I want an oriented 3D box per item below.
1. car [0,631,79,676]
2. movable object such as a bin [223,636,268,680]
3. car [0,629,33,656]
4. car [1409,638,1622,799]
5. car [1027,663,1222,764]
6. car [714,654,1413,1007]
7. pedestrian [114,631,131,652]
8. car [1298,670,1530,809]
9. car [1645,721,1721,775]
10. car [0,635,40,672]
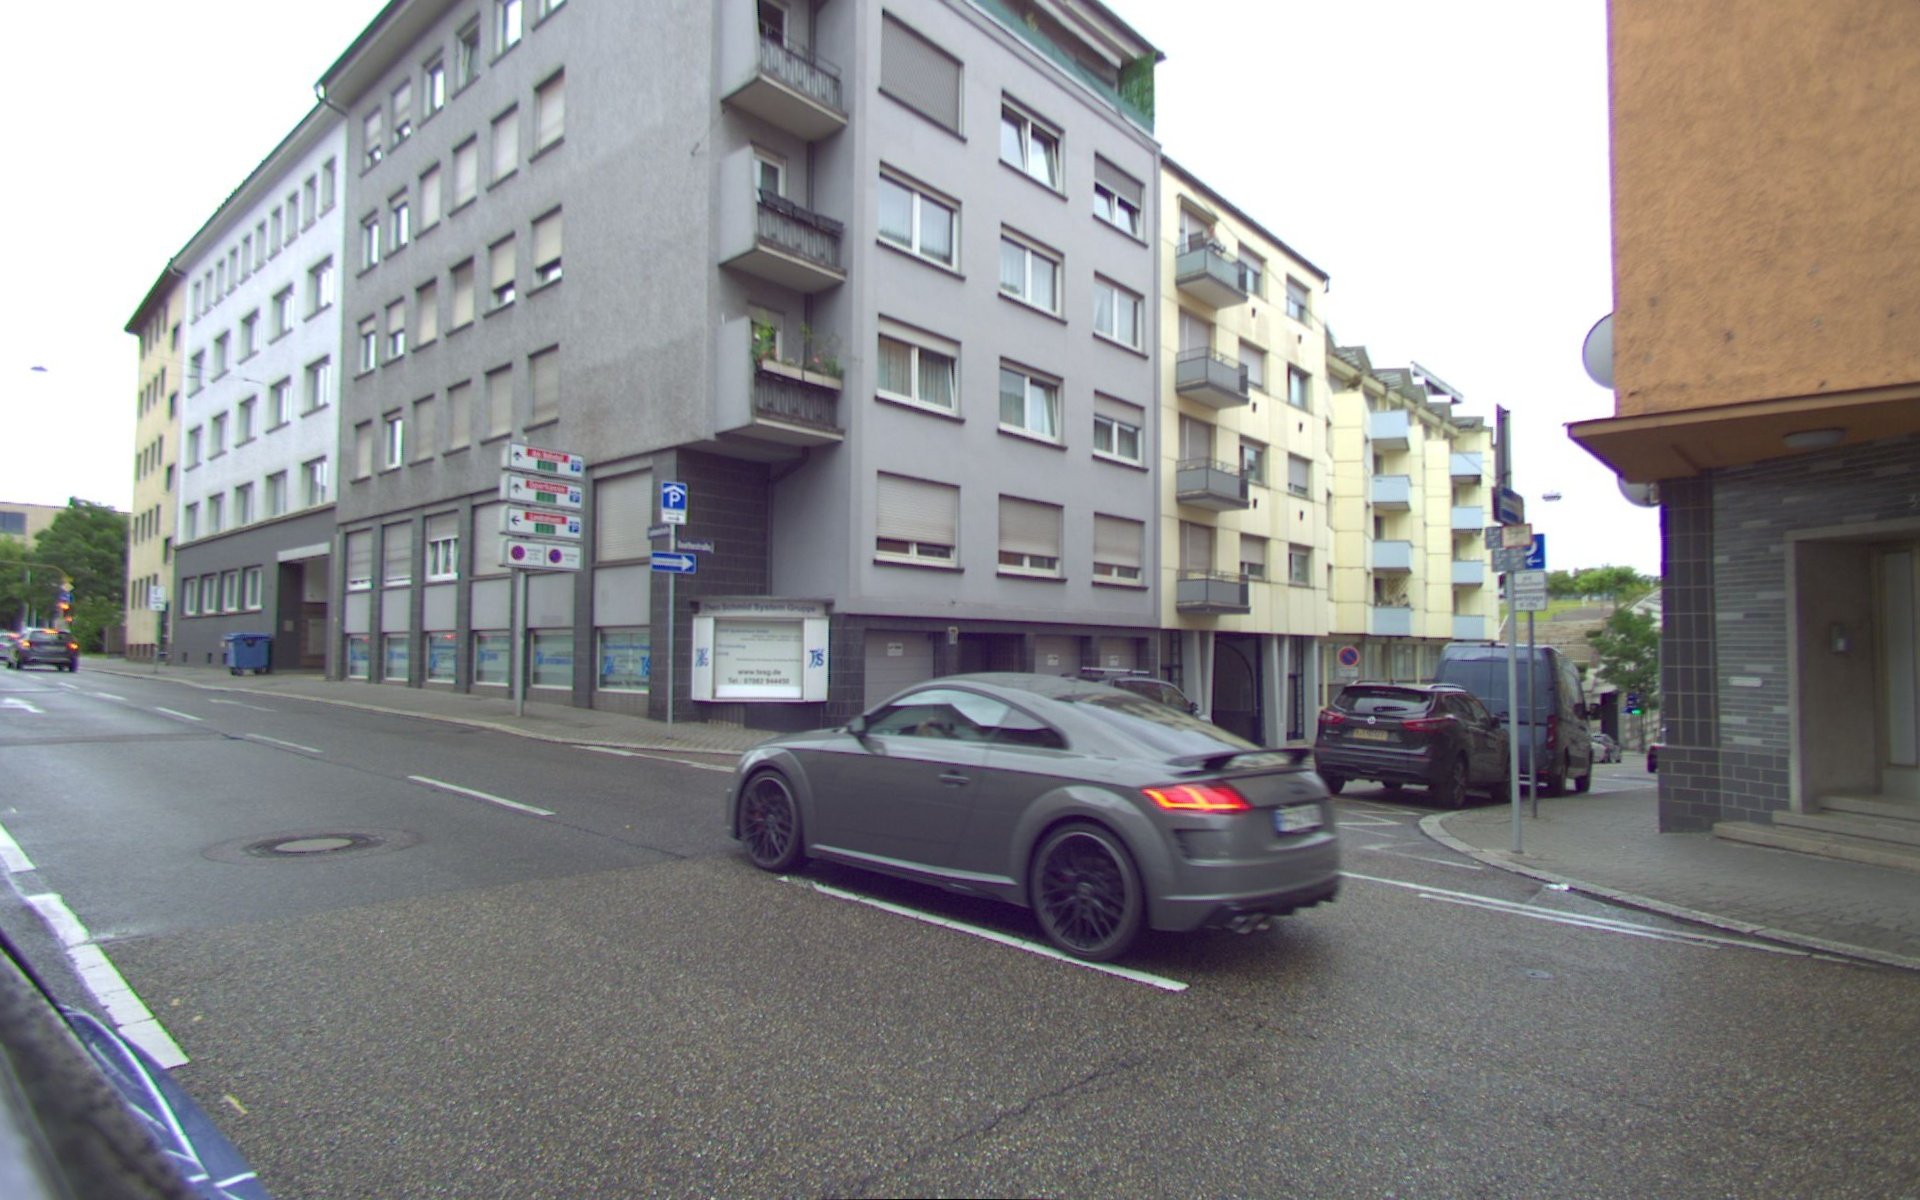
[{"bbox_3d":[-34.422,1.984,37.741,4.157,1.519,1.685,-1,-5,41],"label":"car"},{"bbox_3d":[-22.853,1.842,32.369,1.096,1.343,0.933,-1,0,41],"label":"movable object such as a bin"},{"bbox_3d":[-55.322,2.447,57.339,1.771,1.505,3.945,-1,0,42],"label":"car"},{"bbox_3d":[10.491,2.207,18.816,2.249,2.481,5.975,-1,-7,41],"label":"car"},{"bbox_3d":[3.342,2.271,19.922,1.794,1.700,4.186,-1,-8,41],"label":"car"},{"bbox_3d":[0.418,1.087,6.104,3.887,1.356,1.748,-1,-6,42],"label":"car"},{"bbox_3d":[-46.297,2.296,55.939,0.407,1.158,0.575,-2,-6,42],"label":"pedestrian"},{"bbox_3d":[6.457,1.944,14.130,1.842,1.589,4.098,-1,-8,41],"label":"car"},{"bbox_3d":[25.849,5.309,36.139,1.817,1.688,3.998,-1,-8,41],"label":"car"},{"bbox_3d":[-43.990,2.455,46.625,4.371,1.602,1.858,-1,-3,41],"label":"car"}]
